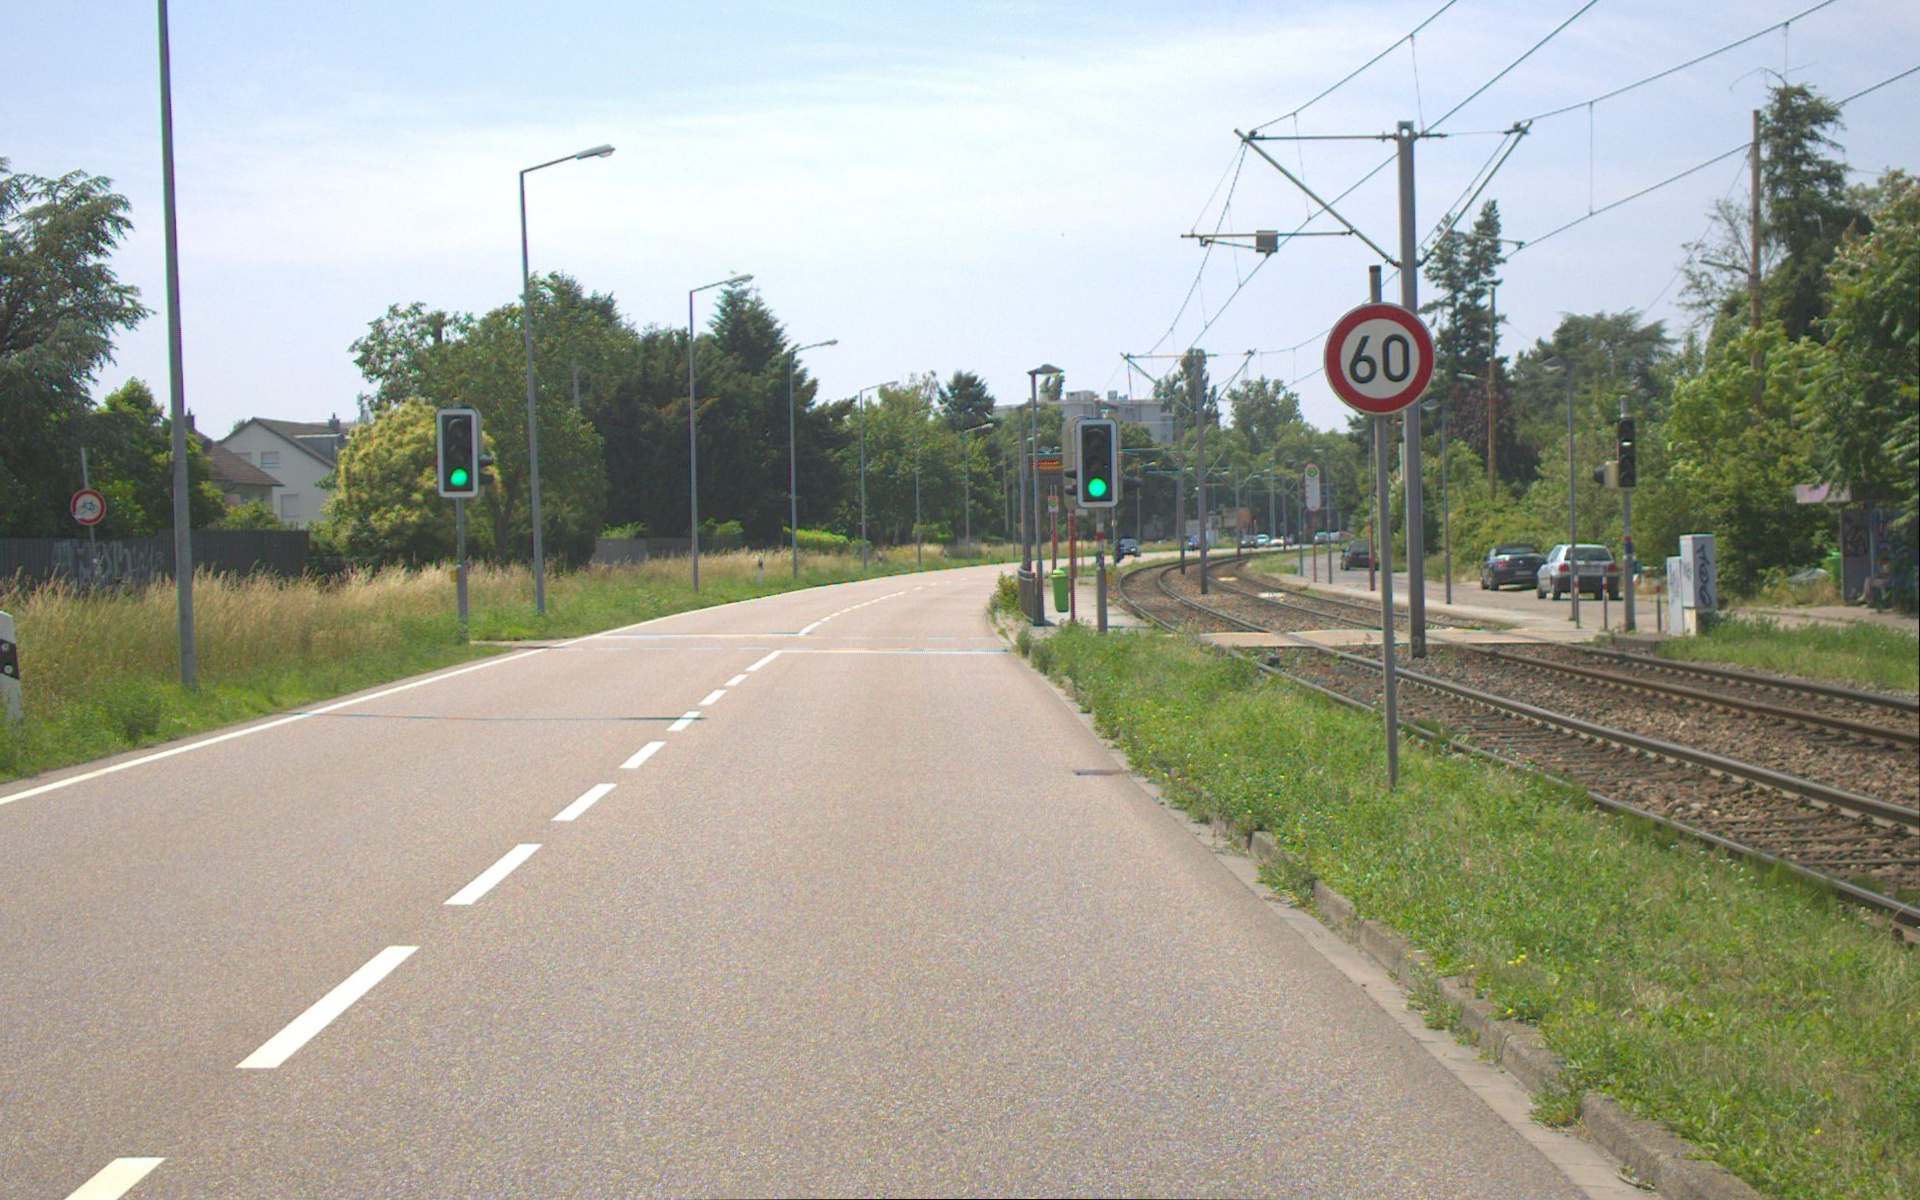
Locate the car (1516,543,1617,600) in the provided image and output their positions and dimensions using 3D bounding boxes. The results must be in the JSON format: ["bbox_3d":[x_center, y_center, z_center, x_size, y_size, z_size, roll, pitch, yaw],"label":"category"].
[{"bbox_3d":[15.355,-0.735,87.185,1.939,1.417,4.000,0,1,1],"label":"car"}]

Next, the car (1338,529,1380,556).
[{"bbox_3d":[20.304,-2.921,175.212,1.861,1.325,4.515,0,1,3],"label":"car"}]

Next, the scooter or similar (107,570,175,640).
[{"bbox_3d":[-13.554,0.084,56.902,1.017,1.124,0.649,-1,1,-10],"label":"scooter or similar"}]

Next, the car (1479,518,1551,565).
[{"bbox_3d":[17.091,-1.814,105.960,1.620,1.417,4.873,0,1,2],"label":"car"}]
